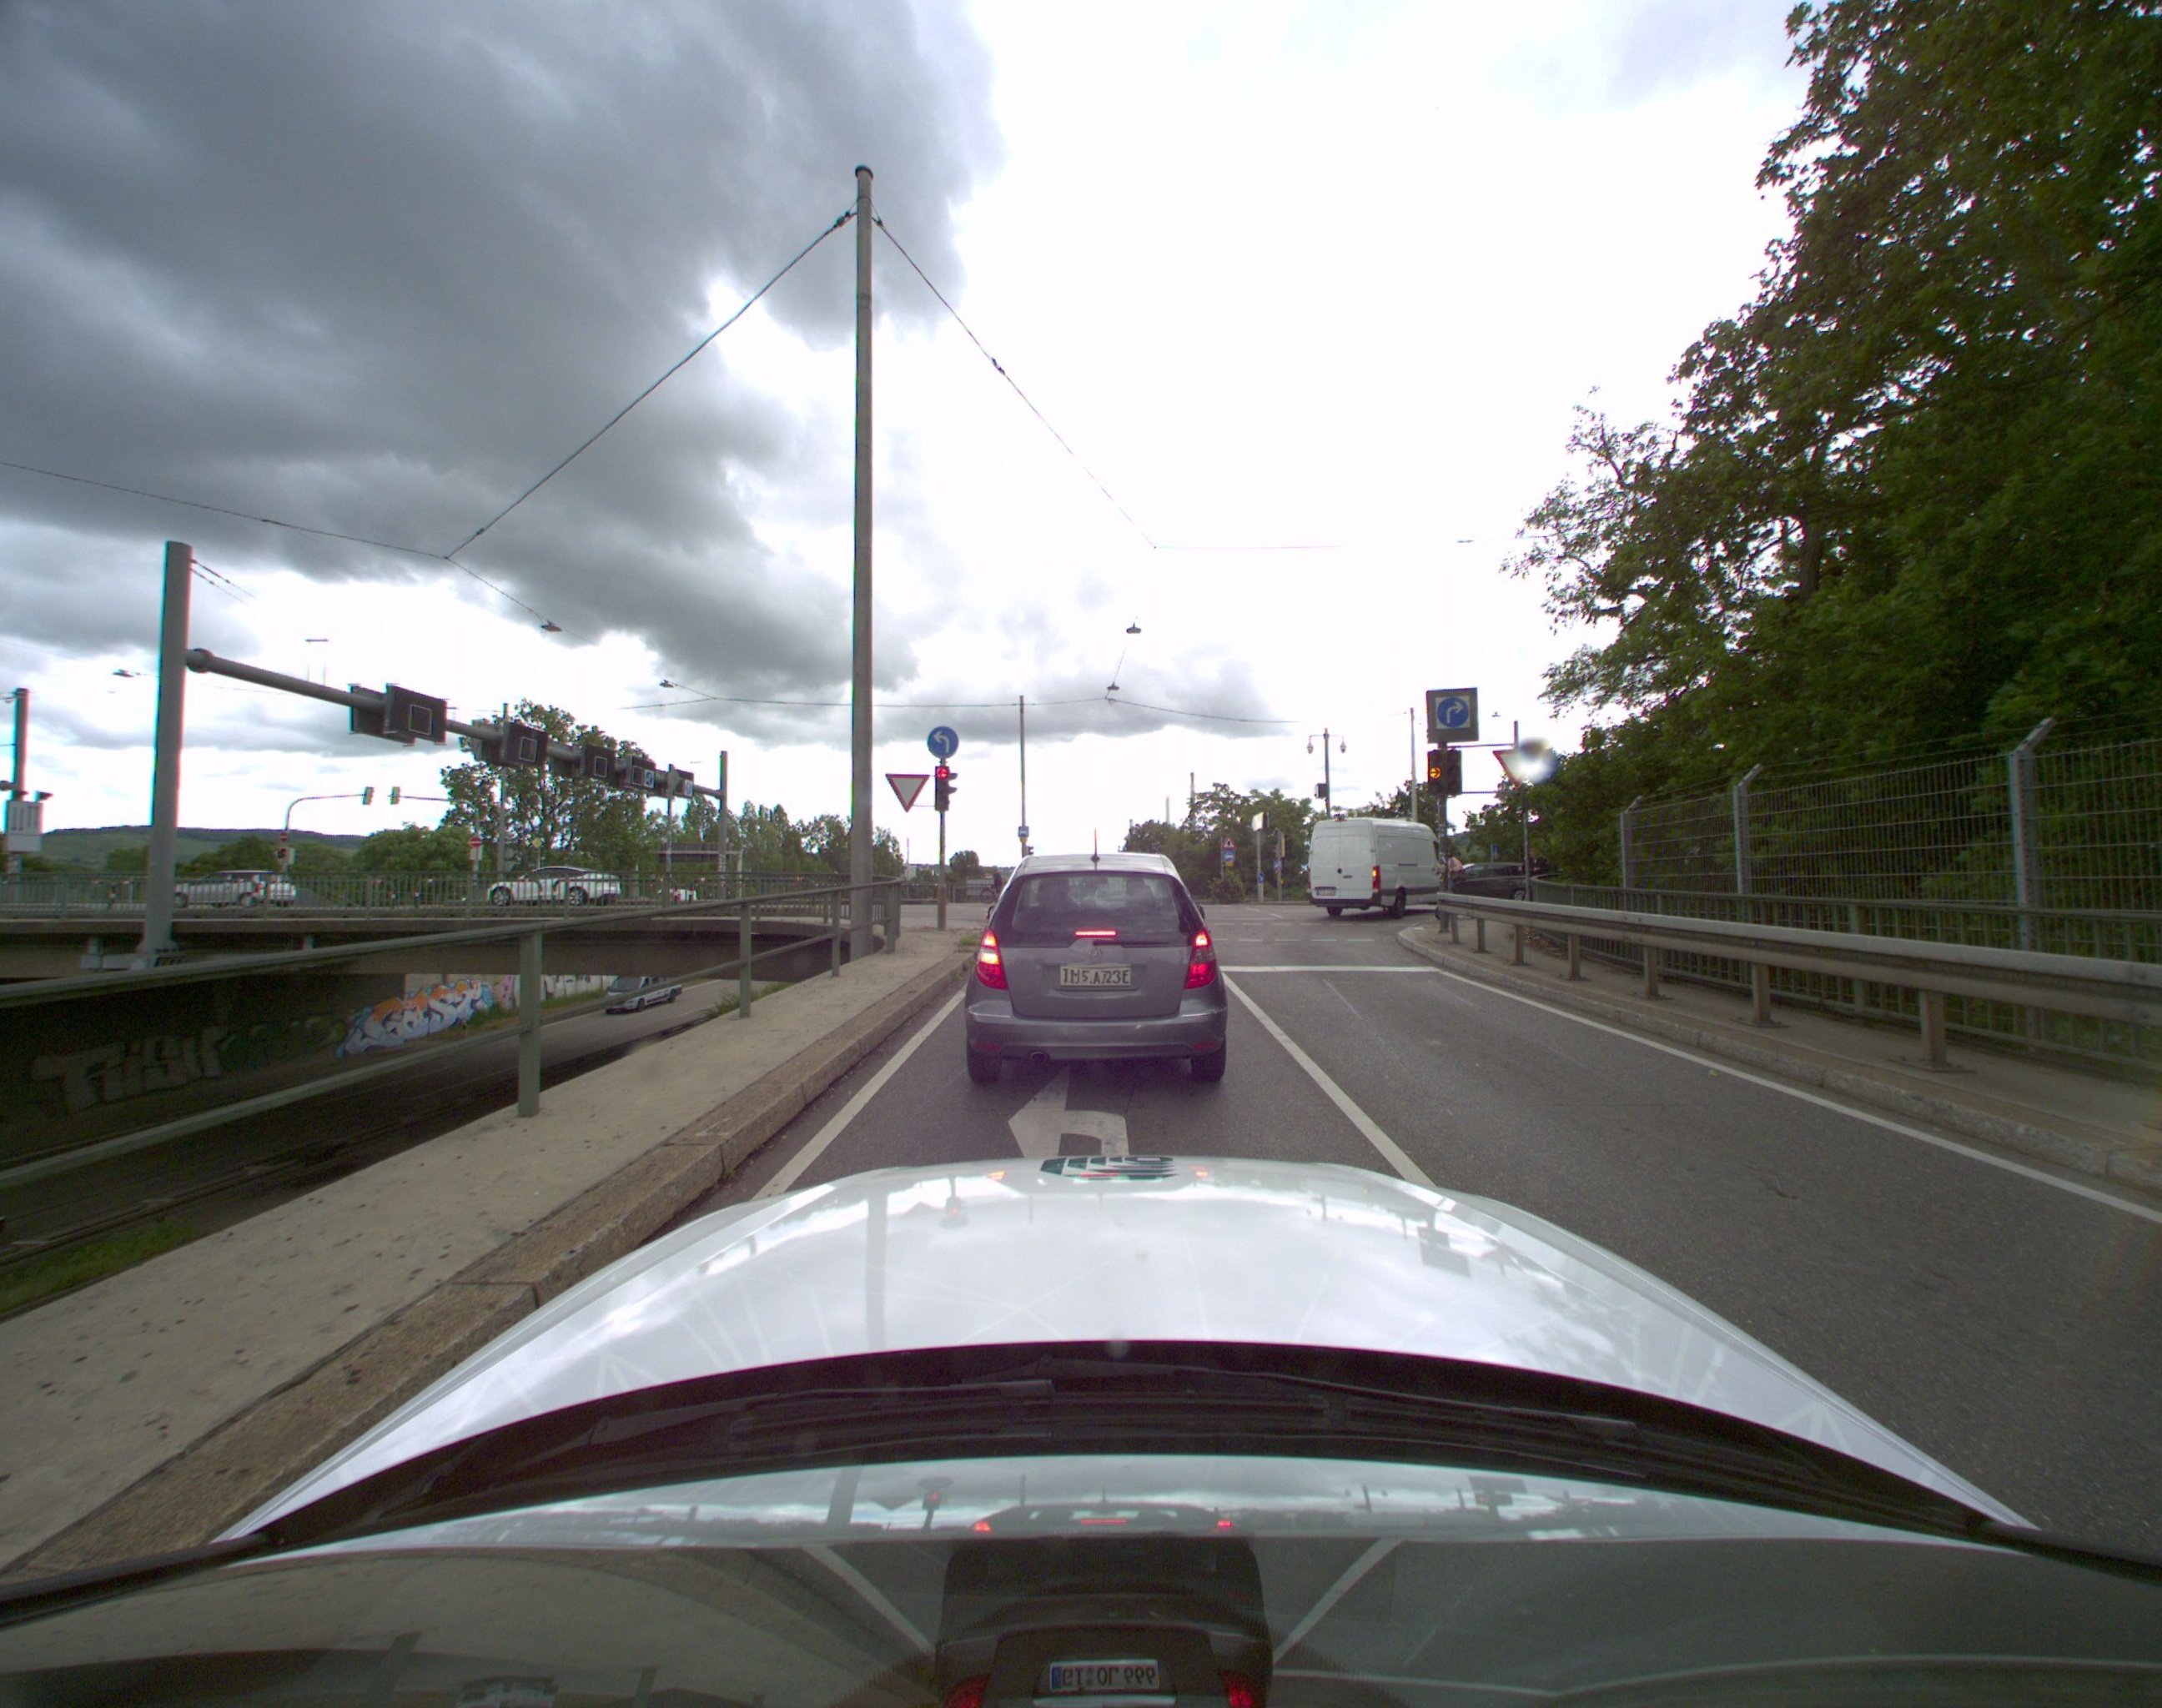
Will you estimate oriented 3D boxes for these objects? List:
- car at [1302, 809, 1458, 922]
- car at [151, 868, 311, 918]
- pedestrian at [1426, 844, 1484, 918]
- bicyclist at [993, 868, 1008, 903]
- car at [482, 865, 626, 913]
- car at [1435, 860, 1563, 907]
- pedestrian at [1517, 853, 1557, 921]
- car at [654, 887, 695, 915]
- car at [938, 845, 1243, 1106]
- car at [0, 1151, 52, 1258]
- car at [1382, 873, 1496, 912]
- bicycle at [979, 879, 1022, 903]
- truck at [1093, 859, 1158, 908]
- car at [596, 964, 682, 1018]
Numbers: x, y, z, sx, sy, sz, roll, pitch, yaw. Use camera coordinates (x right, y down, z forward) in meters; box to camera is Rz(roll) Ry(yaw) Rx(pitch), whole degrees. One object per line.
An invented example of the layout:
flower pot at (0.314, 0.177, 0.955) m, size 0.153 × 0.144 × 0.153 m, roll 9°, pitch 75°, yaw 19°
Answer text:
car at (8.747, 0.237, 23.333) m, size 2.090 × 2.783 × 6.823 m, roll -1°, pitch 0°, yaw 39°
car at (-32.867, 1.482, 31.602) m, size 3.979 × 1.717 × 1.935 m, roll -1°, pitch 0°, yaw -4°
pedestrian at (8.757, 0.643, 19.129) m, size 0.830 × 1.678 × 0.978 m, roll -1°, pitch -3°, yaw -1°
bicyclist at (-3.984, 1.539, 40.283) m, size 0.653 × 1.673 × 0.867 m, roll -1°, pitch 0°, yaw -9°
car at (-20.898, 1.363, 32.463) m, size 4.382 × 1.717 × 1.935 m, roll -1°, pitch 0°, yaw -4°
car at (15.887, 1.110, 31.101) m, size 3.969 × 1.665 × 1.815 m, roll -1°, pitch 0°, yaw 4°
pedestrian at (11.096, 0.792, 19.814) m, size 0.774 × 1.619 × 0.681 m, roll -1°, pitch 0°, yaw 34°
car at (-36.340, 4.204, 72.866) m, size 1.850 × 2.215 × 3.660 m, roll -1°, pitch 0°, yaw -3°
car at (0.193, 0.734, 7.000) m, size 1.849 × 1.588 × 4.005 m, roll -1°, pitch 1°, yaw 4°
car at (-22.367, 7.019, 14.638) m, size 1.986 × 1.841 × 4.424 m, roll -3°, pitch -3°, yaw 2°
car at (18.104, 1.915, 41.252) m, size 5.174 × 1.771 × 2.017 m, roll -1°, pitch 0°, yaw 26°
bicycle at (-3.990, 1.825, 40.269) m, size 2.032 × 1.124 × 0.926 m, roll -1°, pitch 0°, yaw -10°
truck at (3.393, 2.201, 65.274) m, size 2.790 × 3.518 × 10.210 m, roll -1°, pitch 0°, yaw -11°
car at (-27.820, 8.569, 51.566) m, size 2.077 × 2.535 × 6.325 m, roll -2°, pitch -2°, yaw -1°
